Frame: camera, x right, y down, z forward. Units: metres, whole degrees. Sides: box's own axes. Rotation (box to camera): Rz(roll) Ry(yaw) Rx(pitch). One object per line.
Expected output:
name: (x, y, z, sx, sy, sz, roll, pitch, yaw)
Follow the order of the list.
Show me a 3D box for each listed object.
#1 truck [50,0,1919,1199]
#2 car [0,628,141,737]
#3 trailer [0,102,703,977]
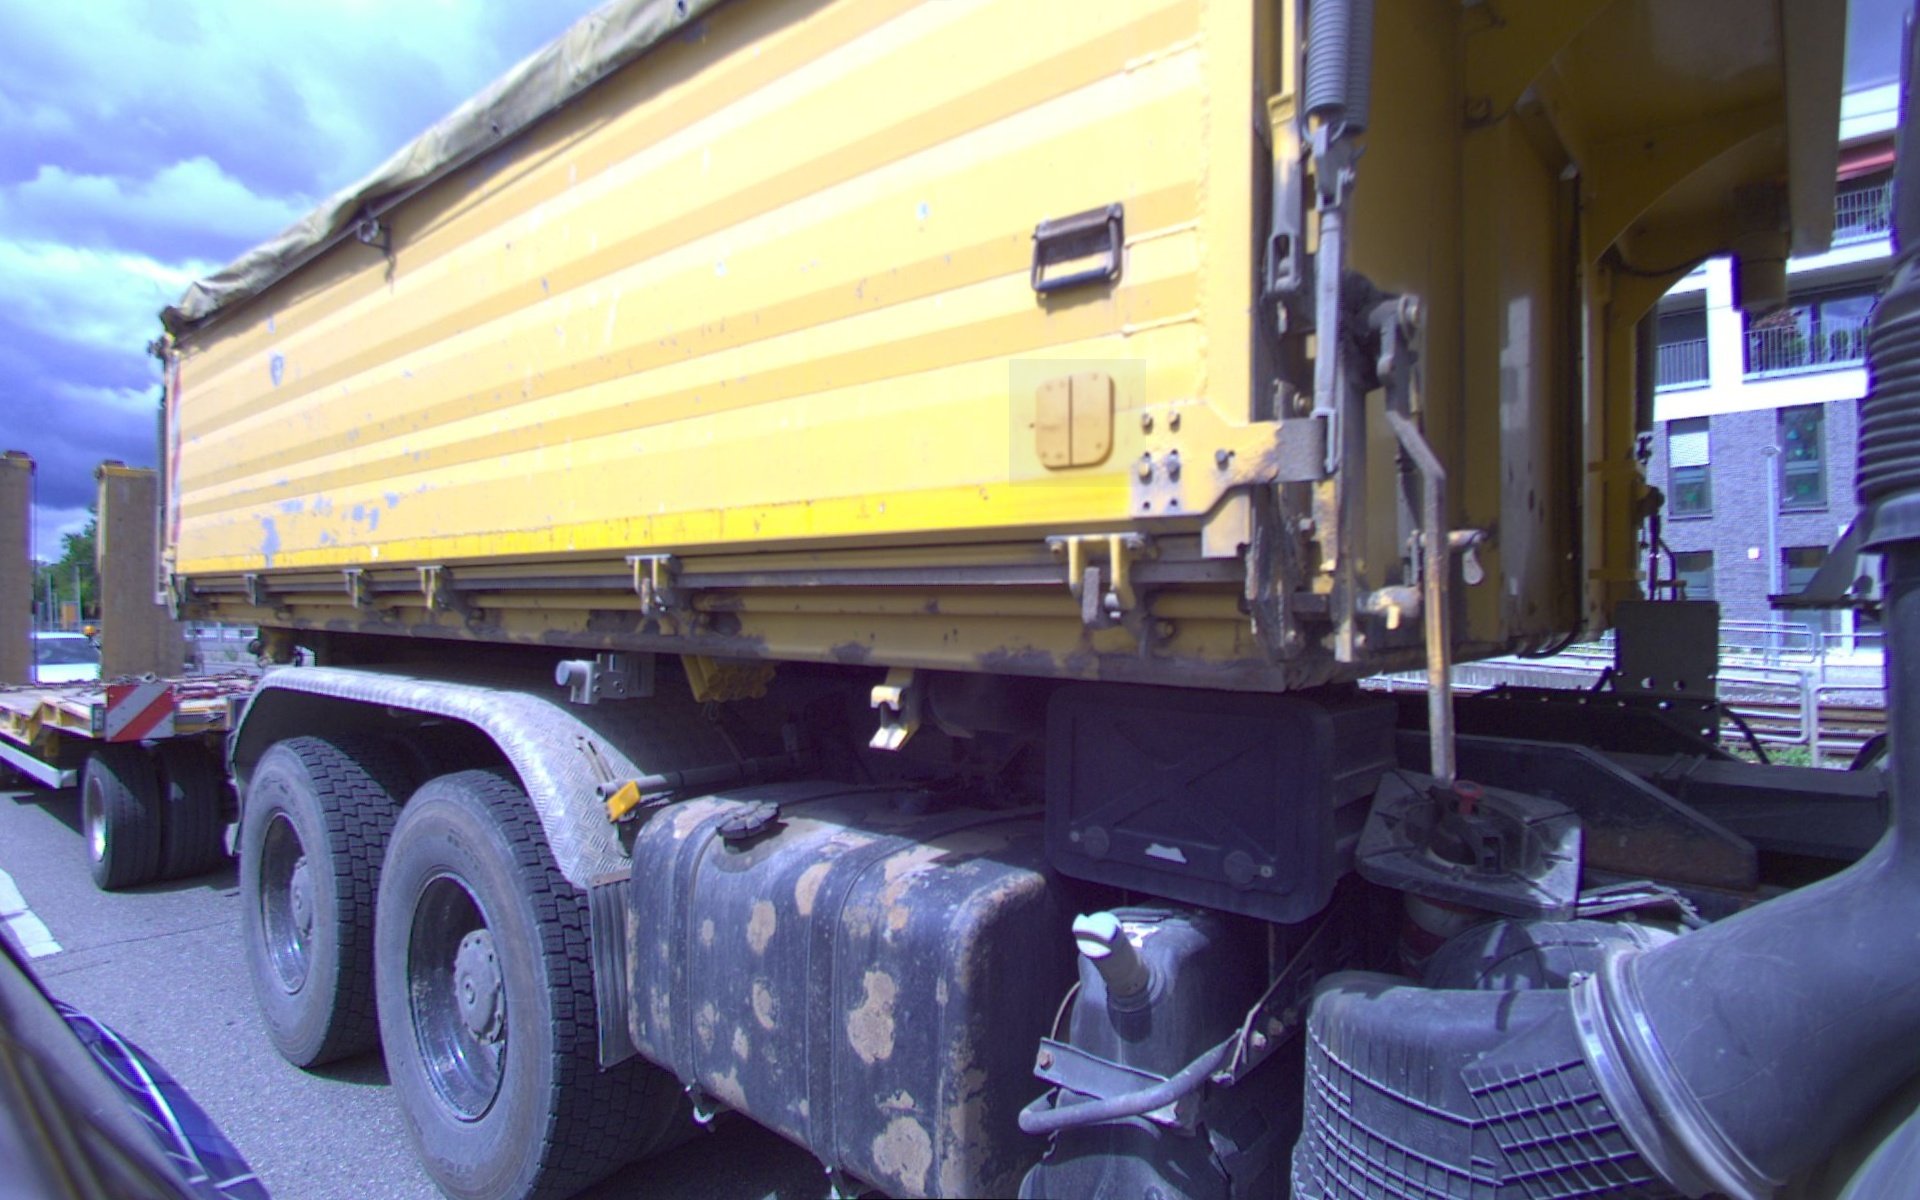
truck: (0.150, -0.222, 2.896, 7.999, 3.420, 3.019, -2, -1, 40)
car: (-13.973, 1.173, 15.387, 3.784, 1.427, 1.761, -2, -1, 41)
trailer: (-6.849, -0.138, 9.018, 10.957, 3.726, 3.018, -2, -1, 40)
